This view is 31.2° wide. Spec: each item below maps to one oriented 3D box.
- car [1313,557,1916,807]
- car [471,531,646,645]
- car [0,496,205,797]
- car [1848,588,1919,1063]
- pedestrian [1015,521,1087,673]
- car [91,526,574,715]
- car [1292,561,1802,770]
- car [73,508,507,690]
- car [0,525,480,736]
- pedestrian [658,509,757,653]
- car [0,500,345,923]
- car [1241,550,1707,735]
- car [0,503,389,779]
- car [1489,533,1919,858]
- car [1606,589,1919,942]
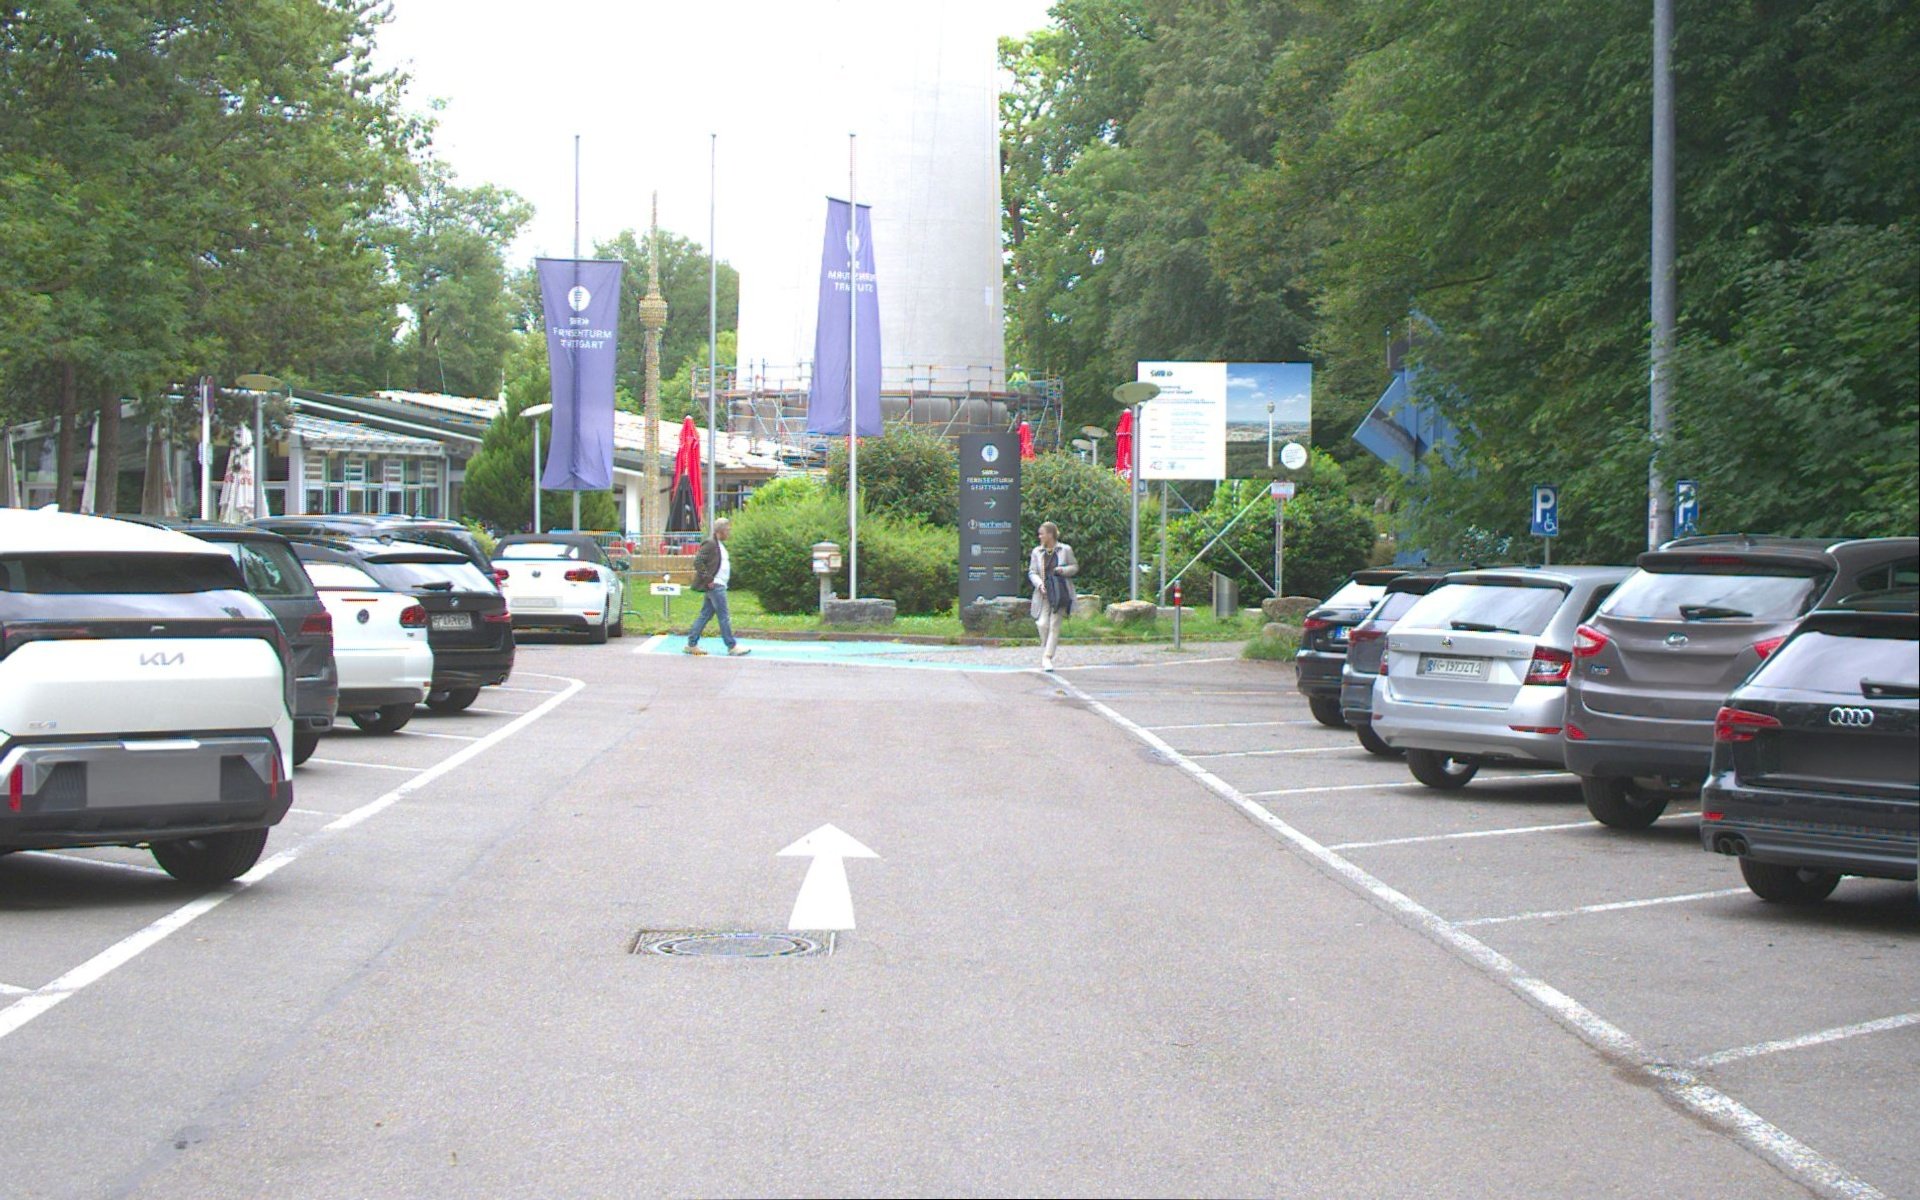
[{"bbox_3d":[4.355,0.473,22.587,3.989,1.462,1.834,0,2,-42],"label":"car"},{"bbox_3d":[-5.343,-0.200,46.177,1.893,1.423,4.000,1,1,-1],"label":"car"},{"bbox_3d":[-6.283,0.184,19.185,3.995,1.549,1.869,2,1,37],"label":"car"},{"bbox_3d":[4.871,0.708,11.583,1.803,1.452,4.176,2,1,44],"label":"car"},{"bbox_3d":[1.055,-0.047,39.675,0.762,1.719,0.897,1,1,4],"label":"pedestrian"},{"bbox_3d":[-5.388,0.133,29.206,4.275,1.438,1.755,2,1,42],"label":"car"},{"bbox_3d":[4.516,0.452,26.102,1.909,1.417,3.990,2,1,43],"label":"car"},{"bbox_3d":[-6.523,-0.043,33.193,4.384,1.603,1.825,2,1,42],"label":"car"},{"bbox_3d":[-5.554,0.184,26.072,3.843,1.438,1.768,2,1,44],"label":"car"},{"bbox_3d":[-3.075,-0.231,41.869,0.895,1.719,0.763,2,1,30],"label":"pedestrian"},{"bbox_3d":[-4.722,0.361,14.813,4.186,1.591,1.842,2,2,41],"label":"car"},{"bbox_3d":[4.532,0.343,29.950,1.898,1.457,4.194,2,1,44],"label":"car"},{"bbox_3d":[-5.636,0.185,22.054,3.974,1.581,1.843,2,2,43],"label":"car"},{"bbox_3d":[5.095,0.475,19.719,1.964,1.631,4.252,2,1,44],"label":"car"},{"bbox_3d":[4.906,0.663,15.578,1.964,1.373,4.252,2,1,41],"label":"car"}]
